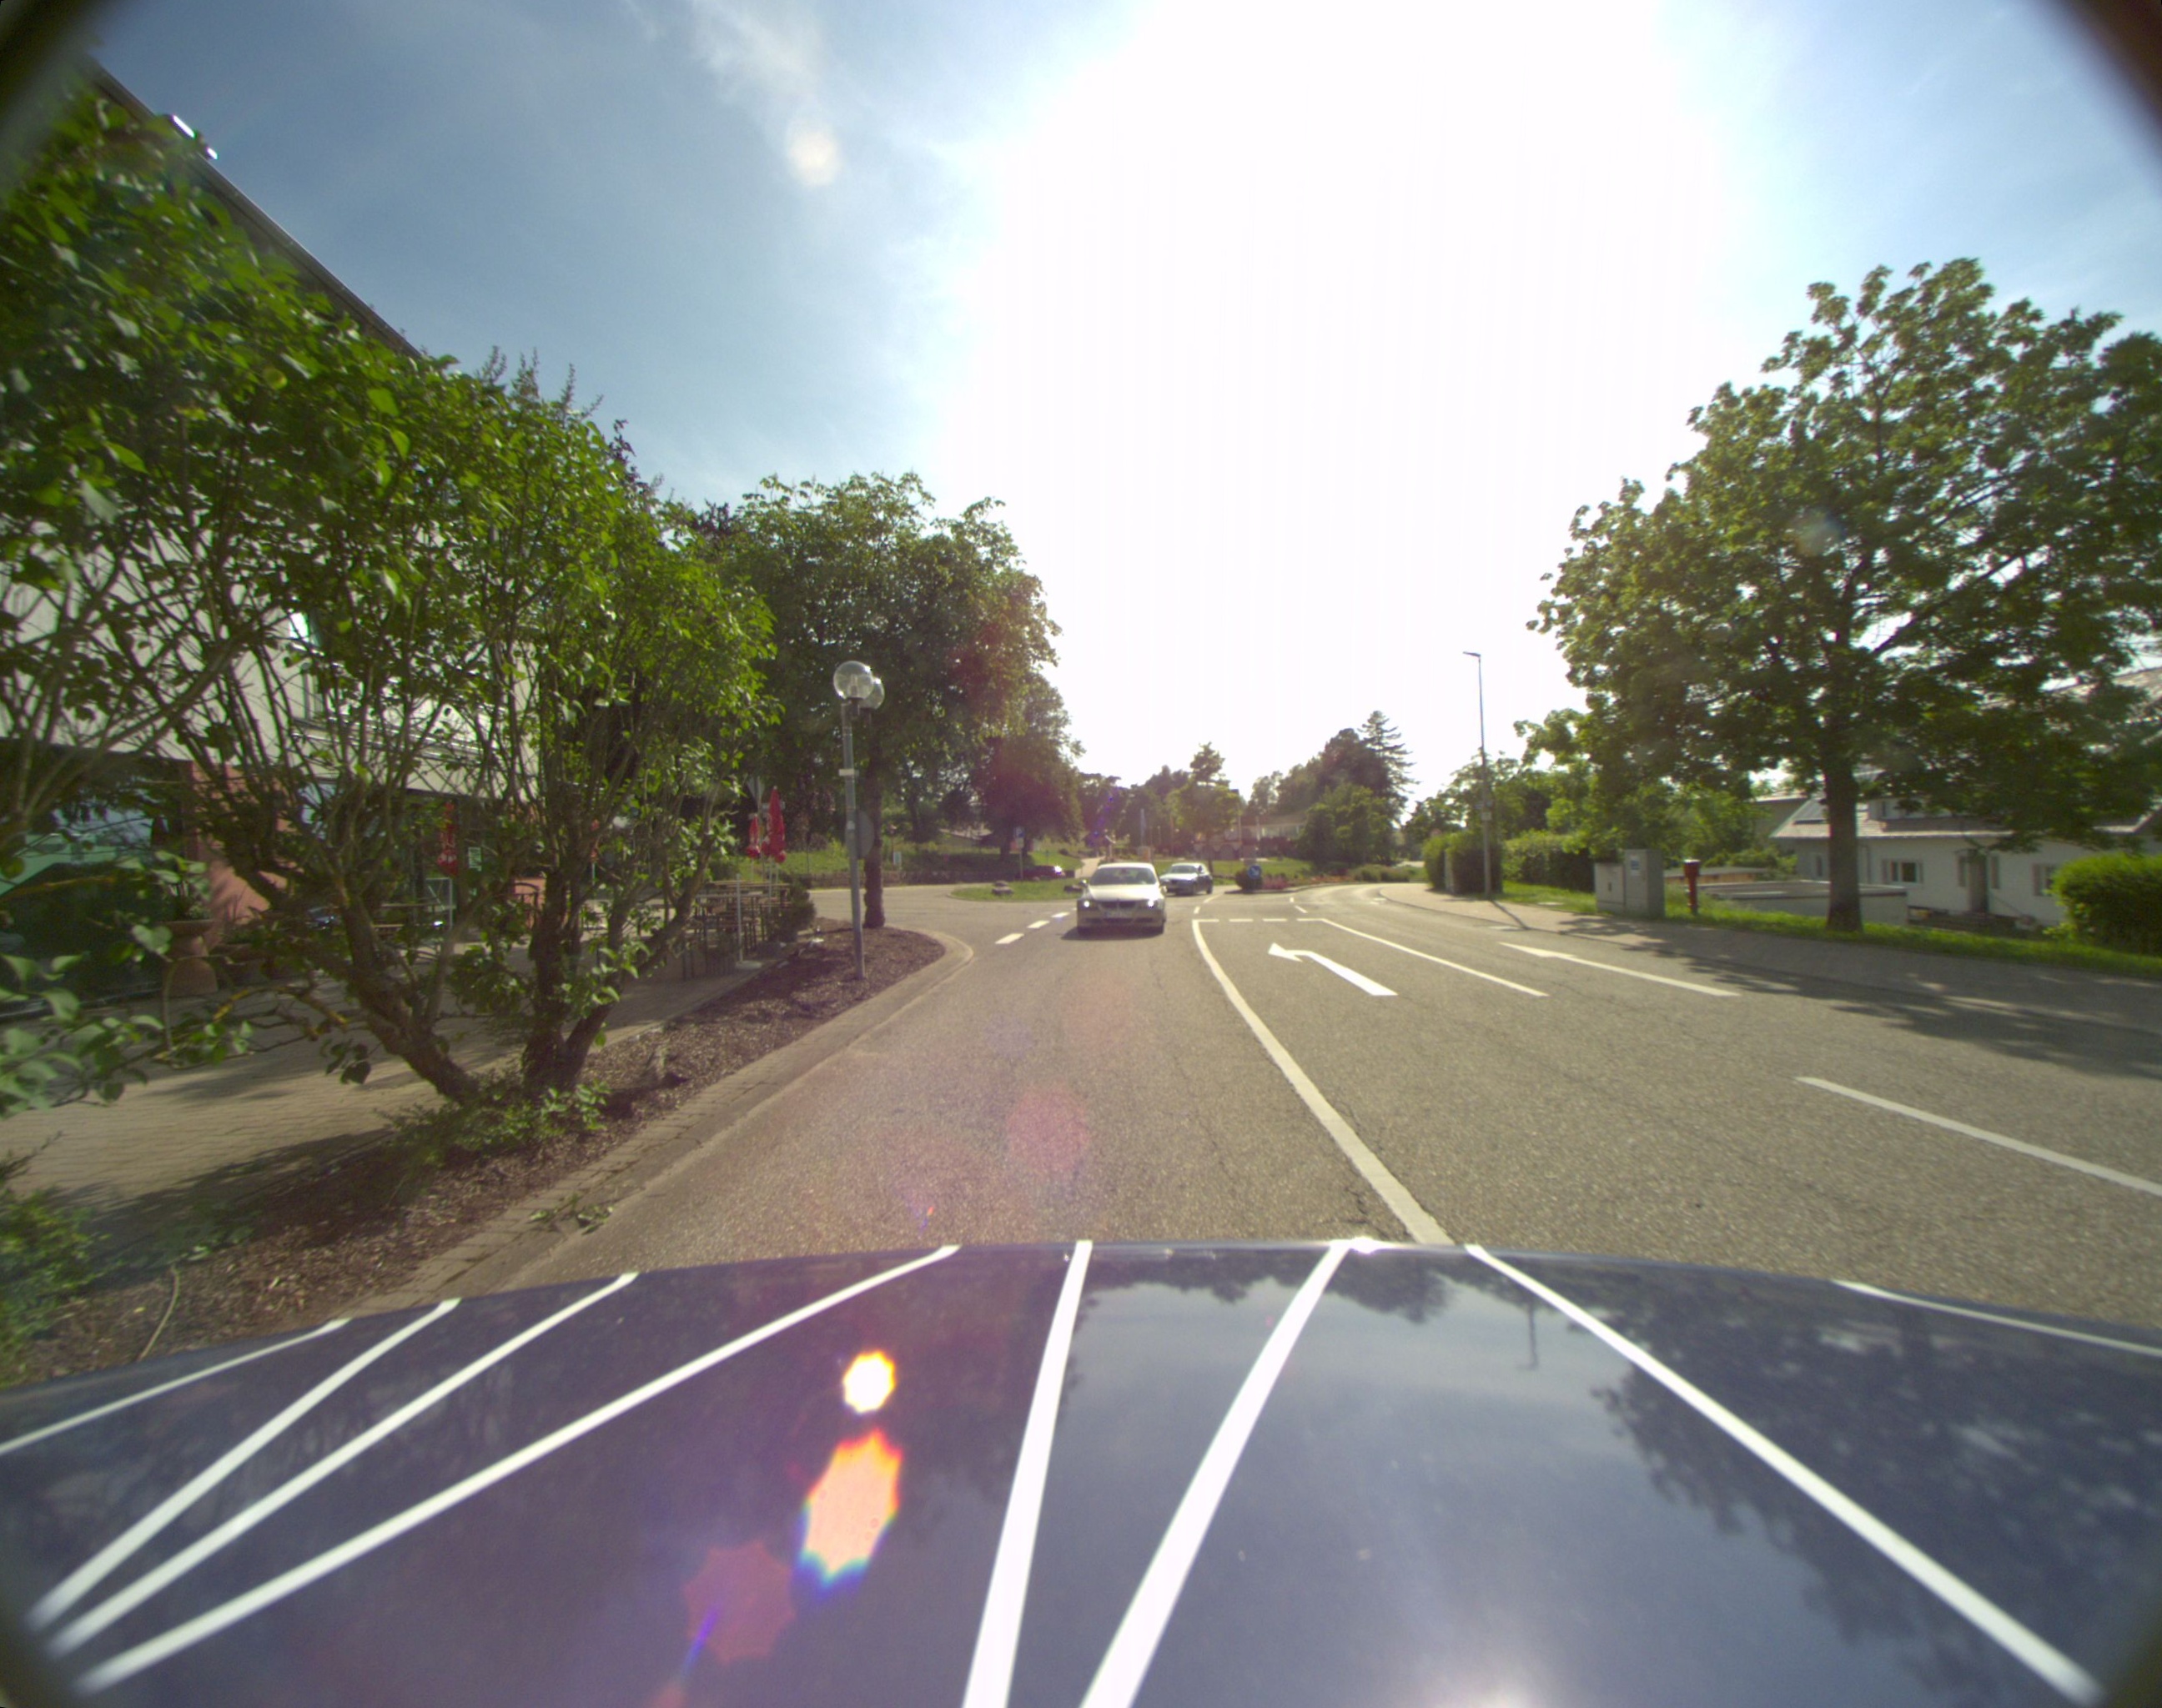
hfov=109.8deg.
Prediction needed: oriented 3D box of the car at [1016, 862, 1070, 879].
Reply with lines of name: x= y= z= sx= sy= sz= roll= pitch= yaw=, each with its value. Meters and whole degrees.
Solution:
car: x=-3.204 y=1.366 z=63.903 sx=4.255 sy=1.420 sz=1.705 roll=0 pitch=0 yaw=28

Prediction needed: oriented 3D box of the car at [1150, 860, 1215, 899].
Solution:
car: x=4.546 y=1.080 z=33.539 sx=1.899 sy=1.499 sz=4.006 roll=2 pitch=1 yaw=21

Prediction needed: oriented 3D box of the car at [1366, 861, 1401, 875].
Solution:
car: x=39.340 y=1.759 z=98.997 sx=2.002 sy=1.609 sz=3.992 roll=2 pitch=1 yaw=-19

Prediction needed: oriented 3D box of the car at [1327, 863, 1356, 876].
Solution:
car: x=33.191 y=1.945 z=96.765 sx=1.716 sy=1.396 sz=3.305 roll=0 pitch=2 yaw=-24

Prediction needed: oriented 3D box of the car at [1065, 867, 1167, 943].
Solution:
car: x=0.923 y=1.004 z=16.807 sx=1.837 sy=1.360 sz=4.584 roll=0 pitch=0 yaw=8
